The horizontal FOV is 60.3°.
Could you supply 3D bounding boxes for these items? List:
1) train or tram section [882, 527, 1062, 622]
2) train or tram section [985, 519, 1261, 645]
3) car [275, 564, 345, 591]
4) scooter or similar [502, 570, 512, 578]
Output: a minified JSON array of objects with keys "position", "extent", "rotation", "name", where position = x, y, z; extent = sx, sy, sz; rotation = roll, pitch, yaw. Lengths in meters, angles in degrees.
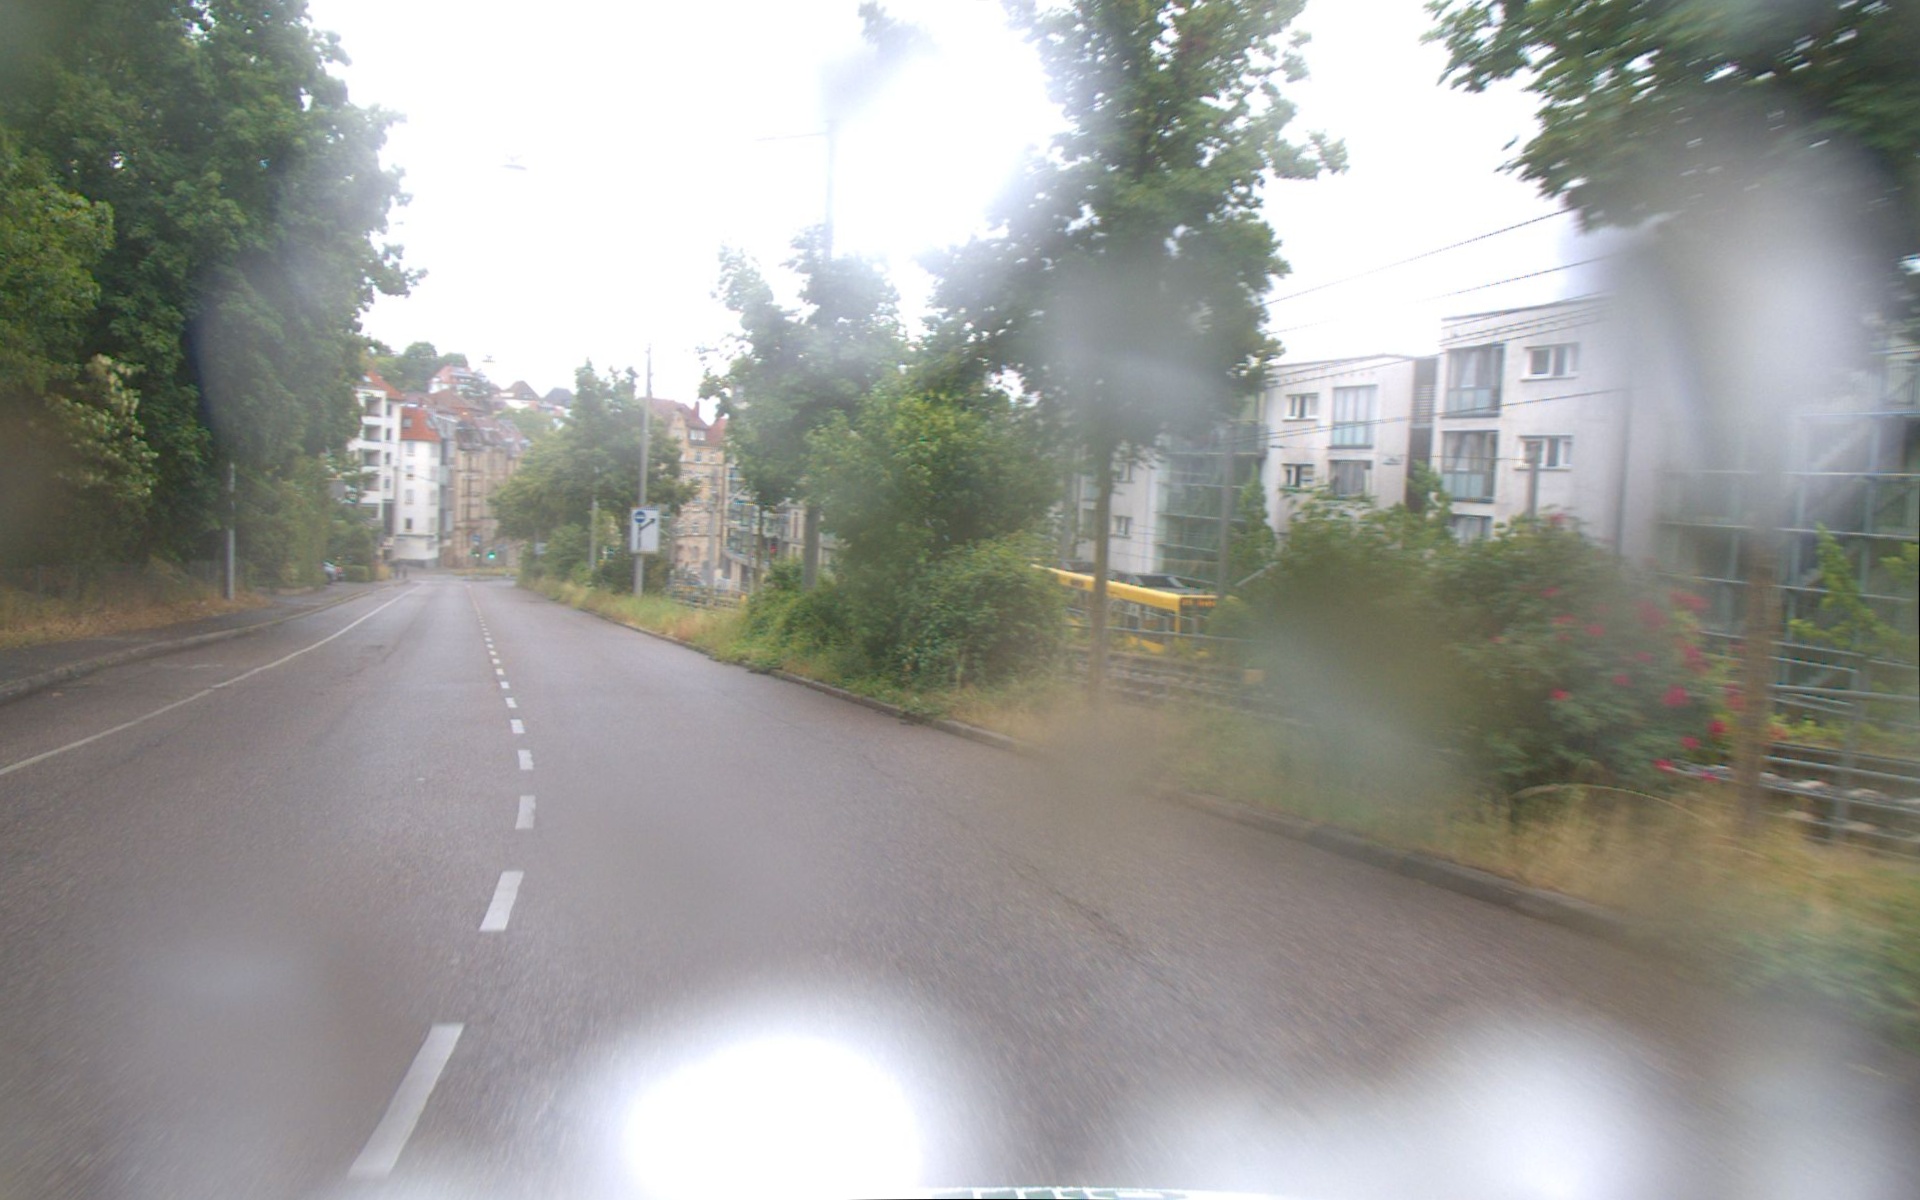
[{"position":[0.125,-1.339,81.240],"extent":[3.278,4.016,18.724],"rotation":[2,1,-17],"name":"train or tram section"},{"position":[5.549,-0.832,63.573],"extent":[3.278,4.016,19.191],"rotation":[2,1,-17],"name":"train or tram section"},{"position":[-37.924,-1.319,96.568],"extent":[3.572,1.431,1.776],"rotation":[2,0,-16],"name":"car"},{"position":[-46.796,-2.675,170.883],"extent":[0.474,0.774,1.331],"rotation":[2,1,10],"name":"scooter or similar"}]
